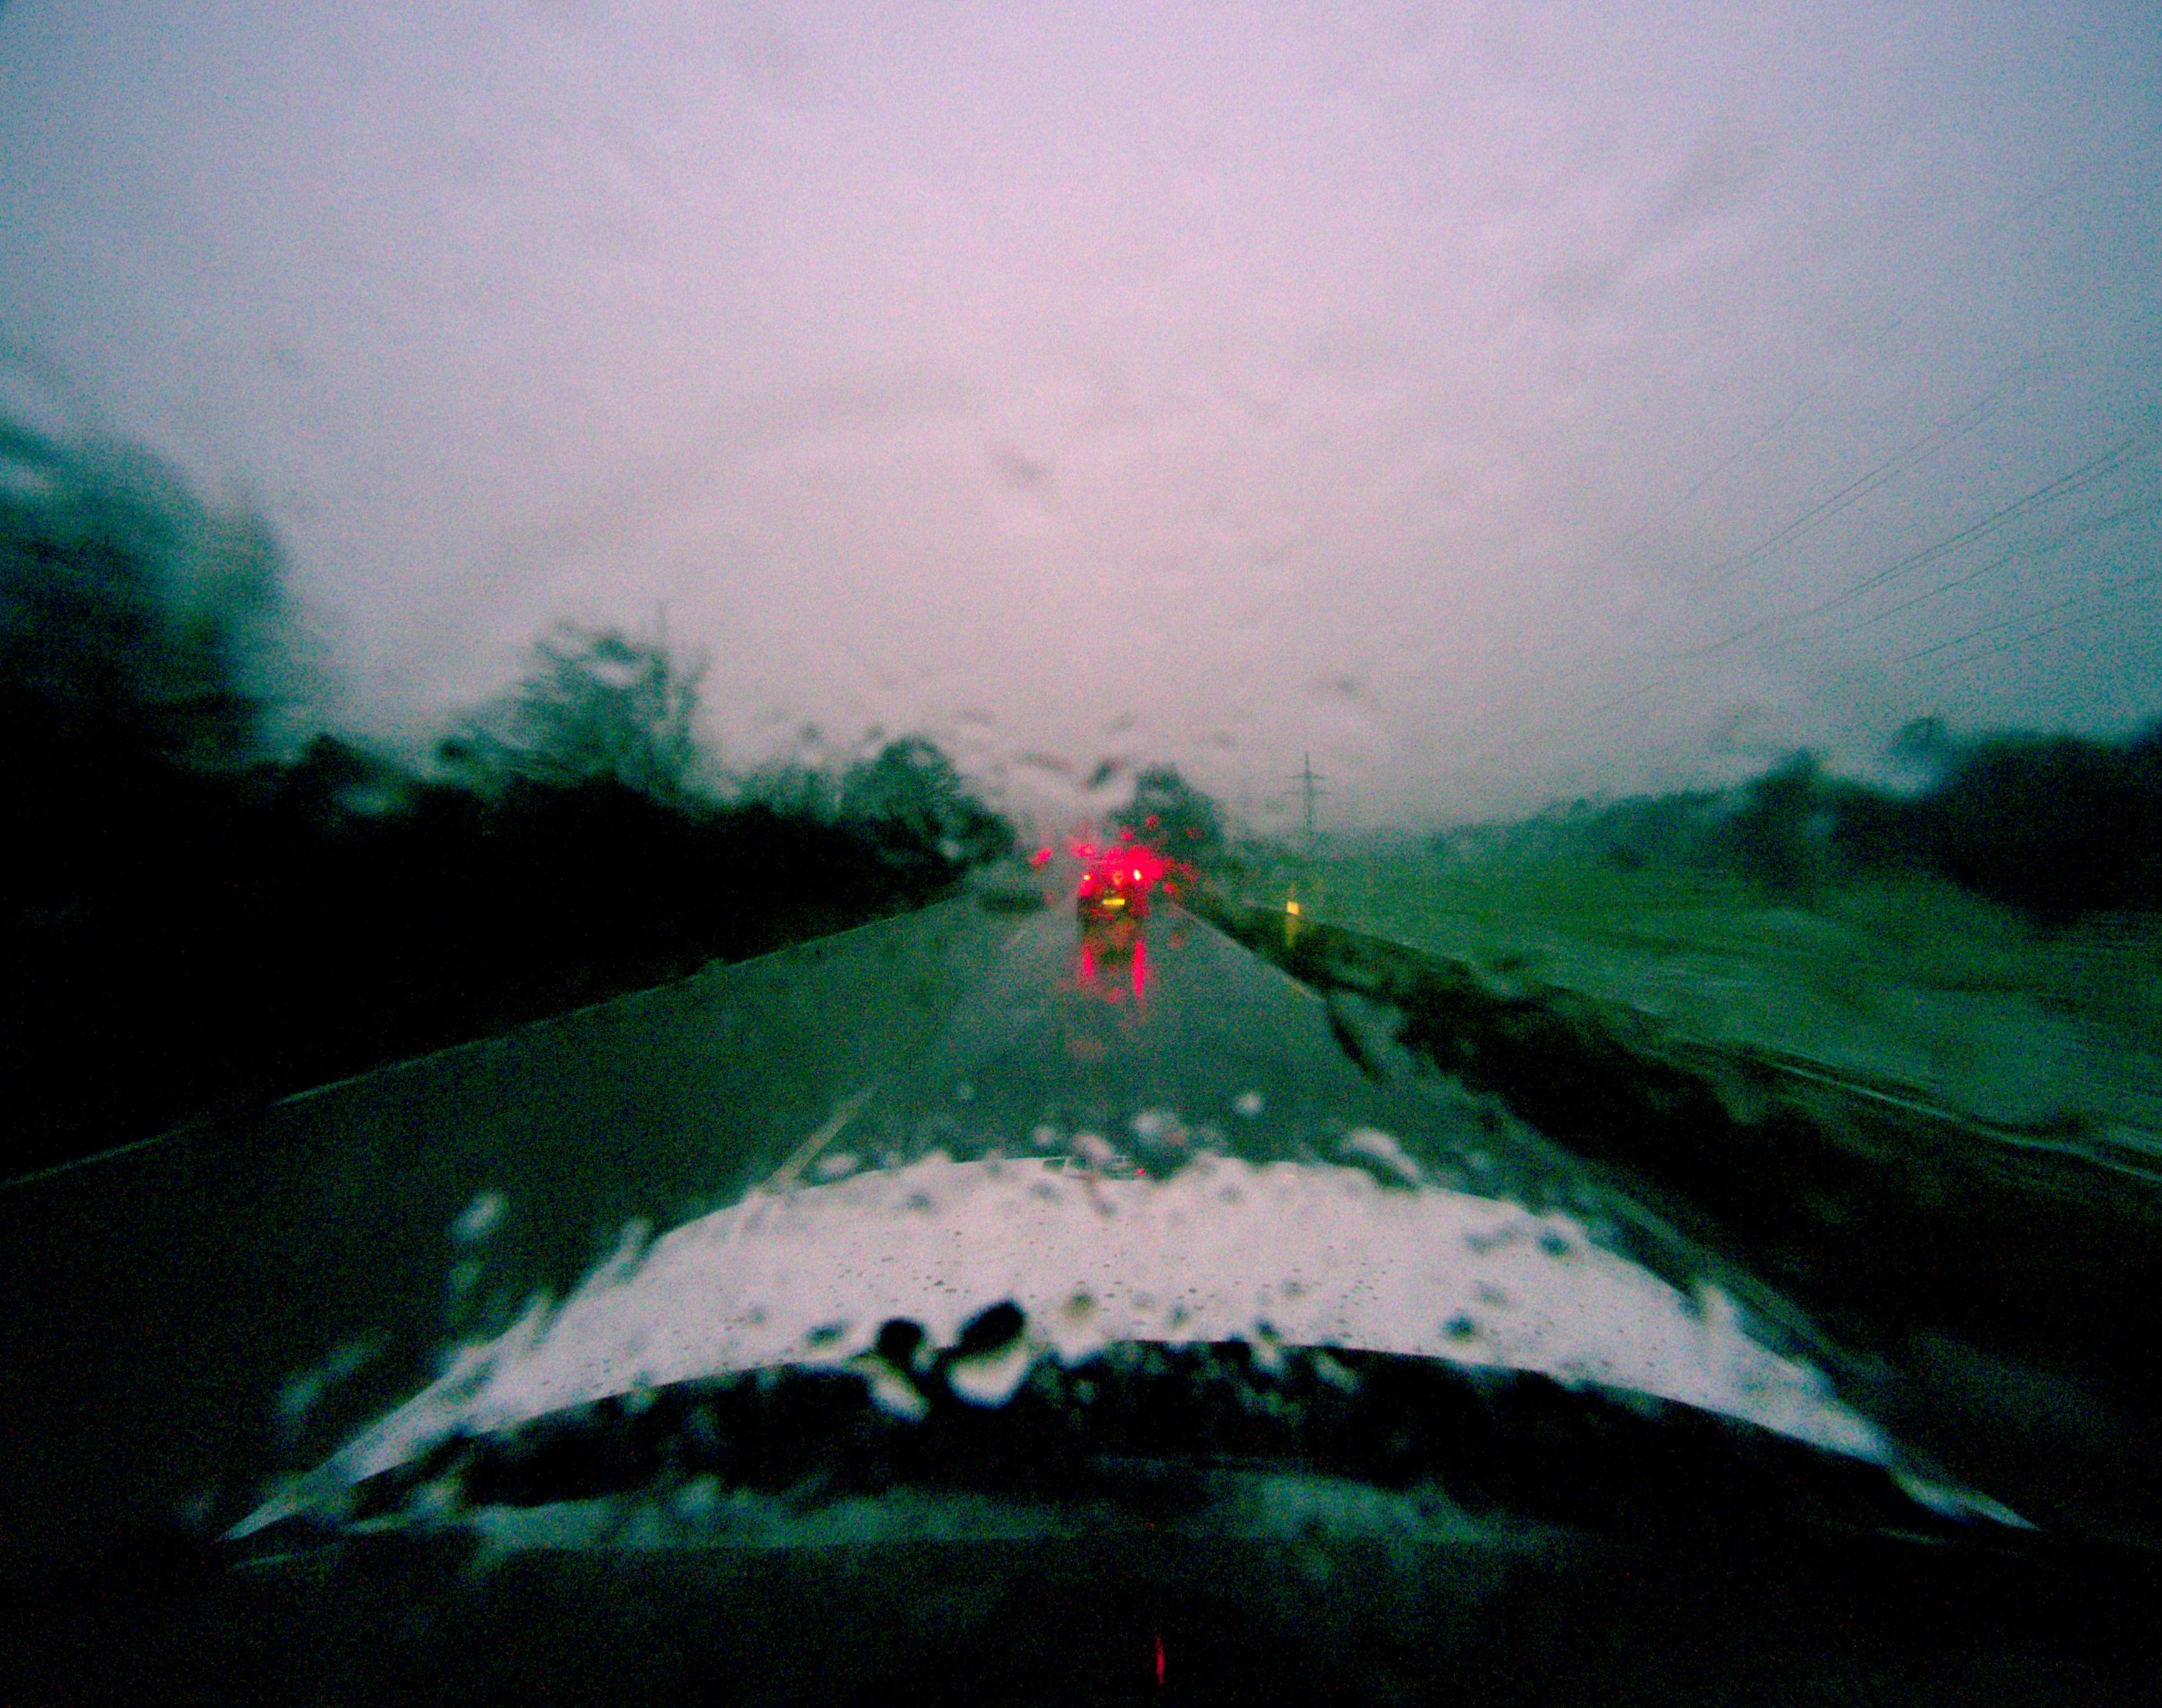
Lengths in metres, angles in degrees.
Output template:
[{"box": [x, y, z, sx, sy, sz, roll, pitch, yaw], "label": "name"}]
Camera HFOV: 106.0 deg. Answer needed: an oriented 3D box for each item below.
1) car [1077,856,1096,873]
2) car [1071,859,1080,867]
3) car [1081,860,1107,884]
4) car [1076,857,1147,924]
[{"box": [0.484, 0.873, 69.299, 1.541, 1.397, 3.871, -1, 0, 2], "label": "car"}, {"box": [-0.965, 1.543, 143.577, 1.541, 1.397, 3.869, -1, 0, 1], "label": "car"}, {"box": [0.750, 1.103, 50.329, 1.542, 1.397, 3.868, -1, 0, 0], "label": "car"}, {"box": [0.782, 0.843, 20.440, 1.596, 1.522, 3.872, -1, 0, 3], "label": "car"}]
